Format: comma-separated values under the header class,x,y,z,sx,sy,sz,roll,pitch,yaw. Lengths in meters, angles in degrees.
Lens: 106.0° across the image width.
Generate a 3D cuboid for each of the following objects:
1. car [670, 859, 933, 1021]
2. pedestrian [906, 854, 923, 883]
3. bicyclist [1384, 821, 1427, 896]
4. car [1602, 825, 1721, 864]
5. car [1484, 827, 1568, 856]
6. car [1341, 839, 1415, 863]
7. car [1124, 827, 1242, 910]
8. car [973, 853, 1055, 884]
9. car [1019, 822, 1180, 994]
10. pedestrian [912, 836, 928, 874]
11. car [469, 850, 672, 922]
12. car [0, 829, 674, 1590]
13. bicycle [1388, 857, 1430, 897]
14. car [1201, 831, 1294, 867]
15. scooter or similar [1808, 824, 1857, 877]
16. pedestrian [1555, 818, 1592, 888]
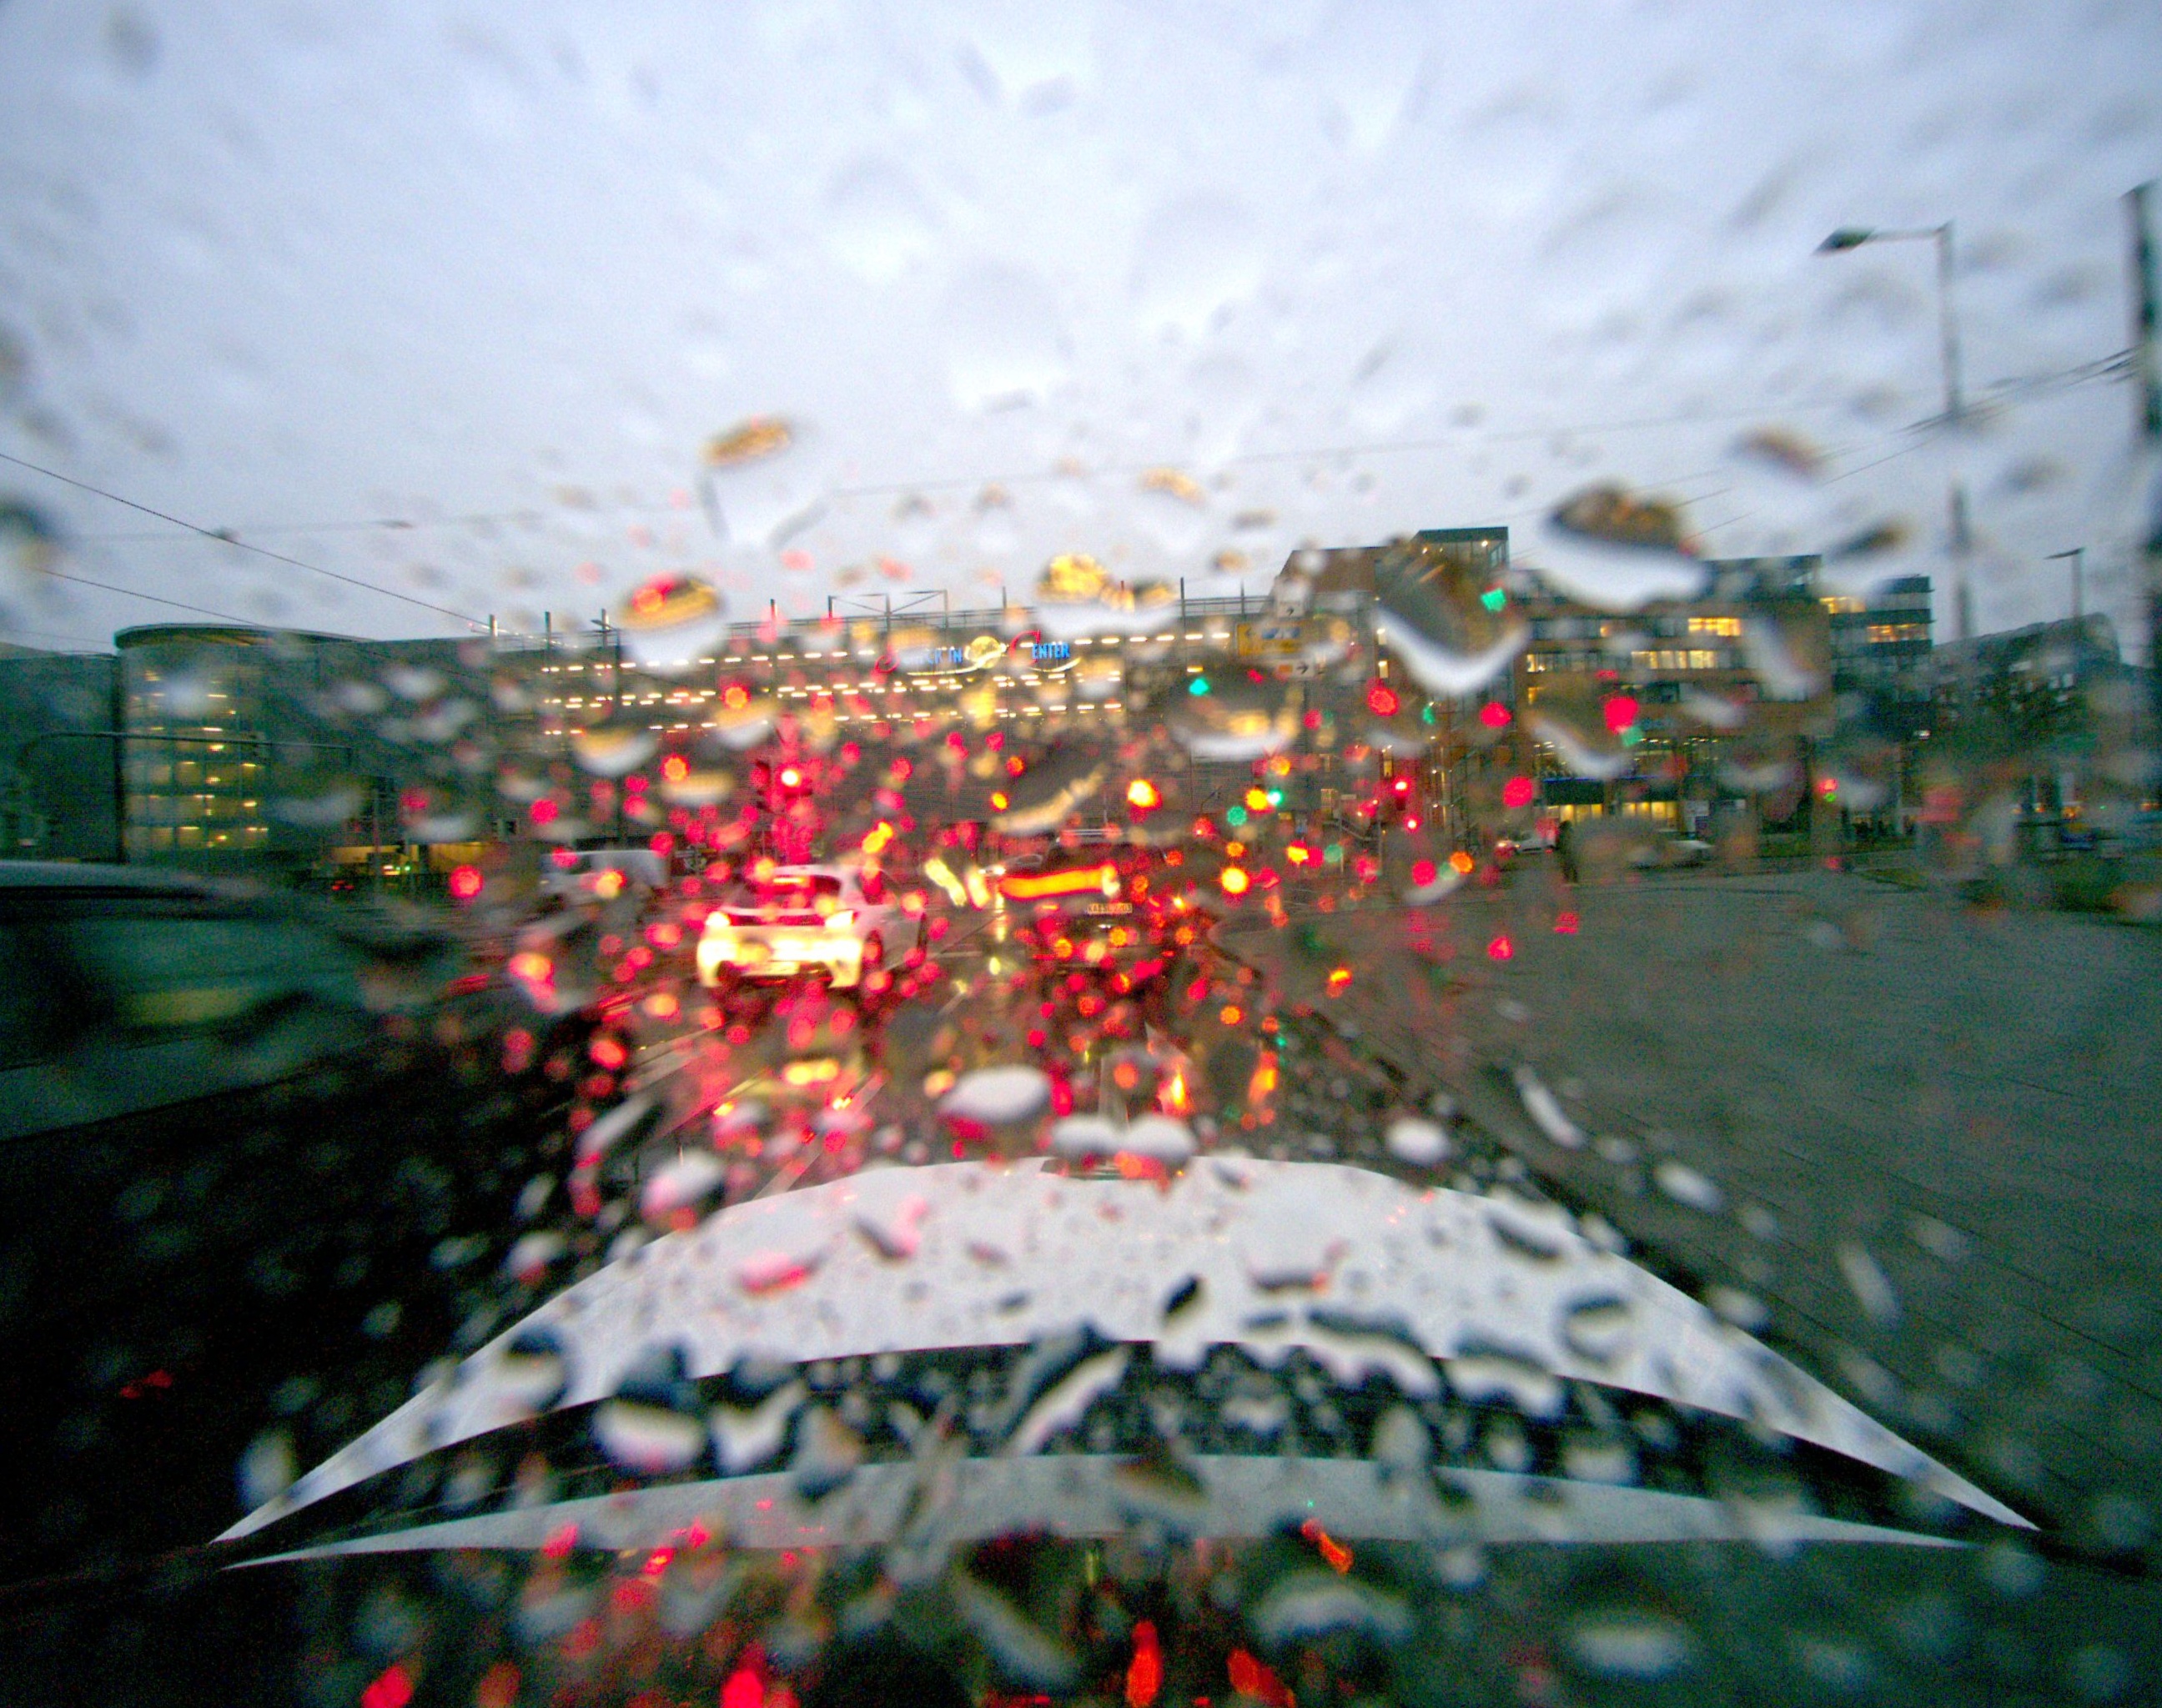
class,x,y,z,sx,sy,sz,roll,pitch,yaw
car,-2.989,0.819,9.644,1.753,1.463,3.916,-2,0,-1
pedestrian,-14.180,1.226,69.360,1.105,2.439,0.967,-1,-1,4
bicyclist,8.480,0.109,21.312,0.786,1.890,0.992,-2,0,10
car,22.638,-0.379,31.794,3.722,1.361,1.639,-2,0,-11
car,30.184,-0.844,55.360,4.572,1.719,1.933,-2,0,5
car,20.019,-0.194,55.020,4.404,1.444,1.626,-2,0,-6
car,2.664,0.310,20.253,1.828,1.806,4.510,-2,0,21
car,-3.639,0.789,45.025,1.842,1.486,4.368,-3,0,42
car,0.344,0.564,10.467,1.666,1.779,4.005,0,0,4
pedestrian,-12.591,0.111,63.620,0.958,2.925,1.115,-1,-1,4
car,-15.012,0.875,24.348,1.883,1.871,4.987,-2,0,19
car,-3.160,0.768,2.247,1.815,1.570,4.361,-2,0,0
bicycle,8.576,0.587,21.362,0.651,0.973,1.872,-2,0,11
car,10.789,-0.290,52.874,5.594,2.059,1.963,-2,0,21
scooter or similar,17.998,-0.093,19.506,1.311,1.206,0.331,-2,0,-24
pedestrian,13.598,-0.018,22.489,0.766,1.877,0.639,-2,0,27
